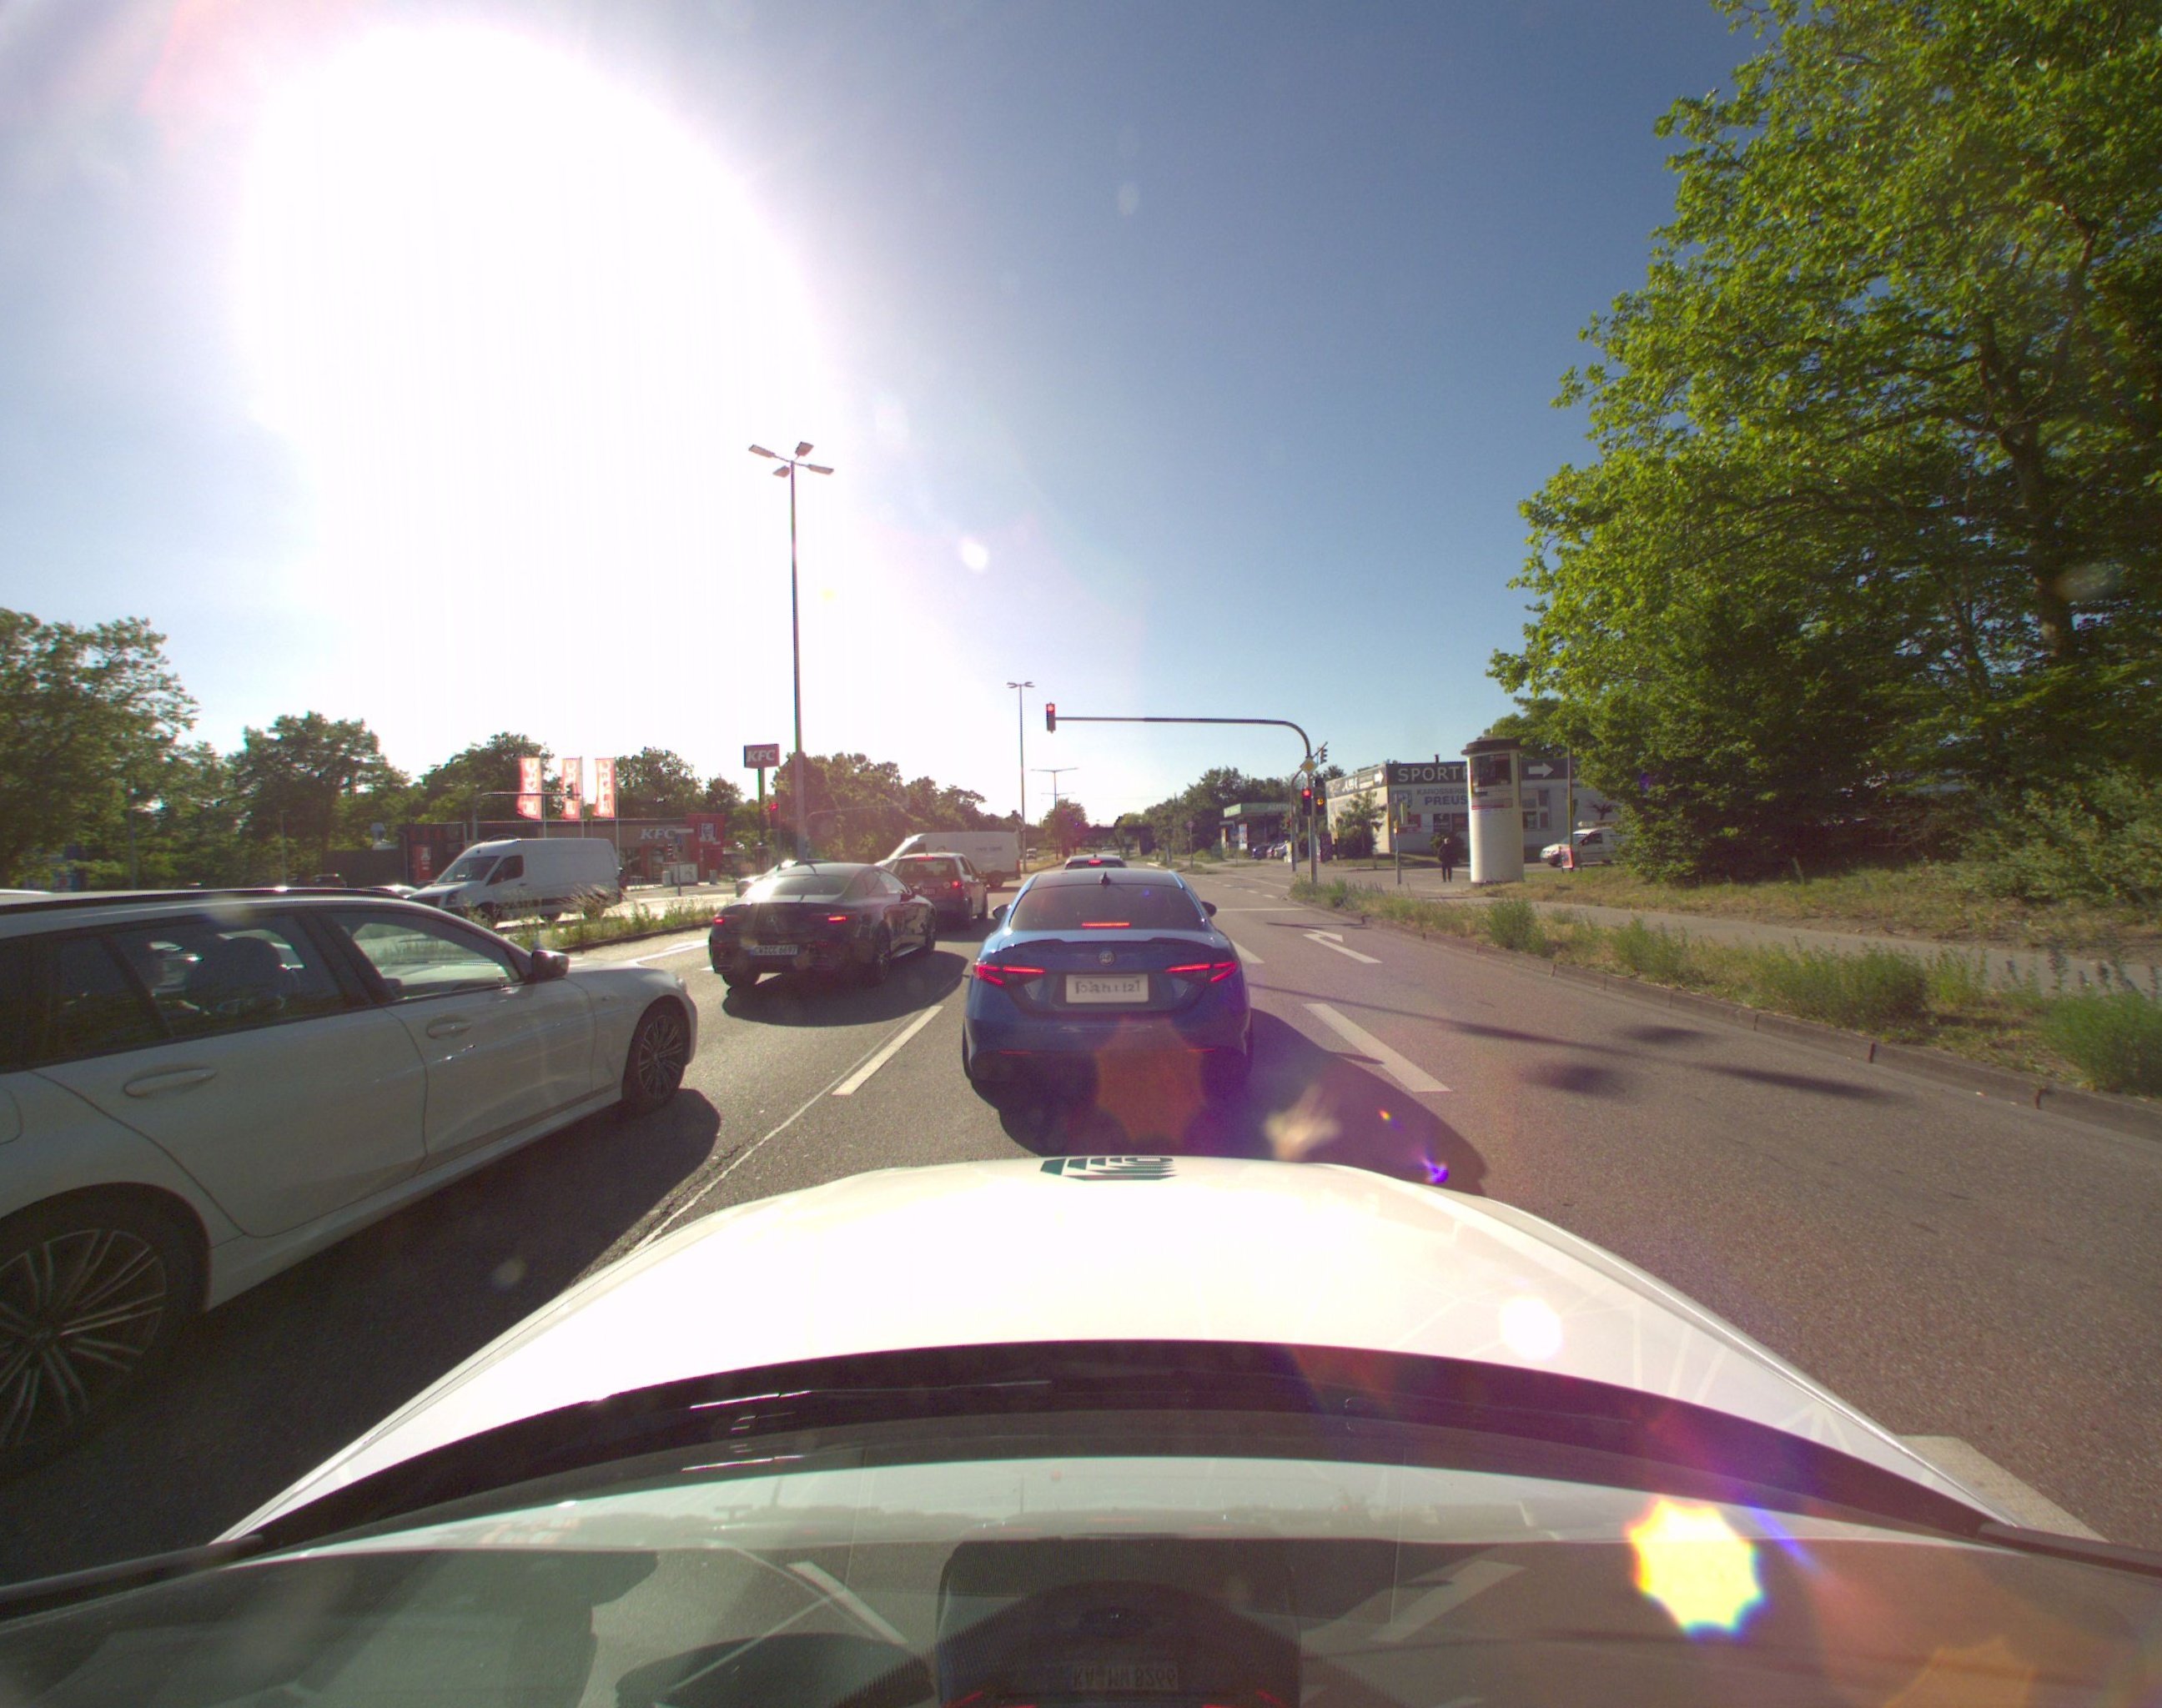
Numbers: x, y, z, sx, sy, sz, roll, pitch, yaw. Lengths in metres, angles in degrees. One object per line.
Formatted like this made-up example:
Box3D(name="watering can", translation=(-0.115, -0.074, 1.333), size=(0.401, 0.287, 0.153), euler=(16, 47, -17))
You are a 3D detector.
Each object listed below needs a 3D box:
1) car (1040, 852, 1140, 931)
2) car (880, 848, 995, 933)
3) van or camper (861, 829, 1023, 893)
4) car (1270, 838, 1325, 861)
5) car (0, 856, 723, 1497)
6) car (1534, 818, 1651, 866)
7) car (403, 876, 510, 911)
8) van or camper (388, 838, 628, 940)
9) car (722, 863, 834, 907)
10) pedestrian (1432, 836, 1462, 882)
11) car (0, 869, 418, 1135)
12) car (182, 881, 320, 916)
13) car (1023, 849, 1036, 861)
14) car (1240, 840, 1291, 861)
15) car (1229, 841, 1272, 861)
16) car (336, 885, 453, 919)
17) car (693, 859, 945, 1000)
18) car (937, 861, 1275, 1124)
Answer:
Box3D(name="car", translation=(0.230, 0.702, 17.209), size=(1.859, 1.450, 3.933), euler=(-1, 0, 2))
Box3D(name="car", translation=(-2.993, 0.699, 17.737), size=(1.642, 1.598, 3.933), euler=(-1, 0, 2))
Box3D(name="van or camper", translation=(-6.129, 0.257, 36.242), size=(6.767, 2.572, 2.166), euler=(-2, 0, -26))
Box3D(name="car", translation=(17.507, -0.356, 65.879), size=(3.993, 1.706, 1.687), euler=(-1, 0, -15))
Box3D(name="car", translation=(-3.431, 0.798, 3.373), size=(1.762, 1.509, 4.463), euler=(-1, 0, 2))
Box3D(name="car", translation=(24.678, -0.570, 39.404), size=(4.393, 2.145, 1.999), euler=(-1, 0, -2))
Box3D(name="car", translation=(-31.925, 1.986, 41.703), size=(4.025, 1.595, 1.824), euler=(-1, 0, -1))
Box3D(name="van or camper", translation=(-16.814, 0.913, 24.446), size=(1.979, 2.651, 5.980), euler=(-1, 0, 14))
Box3D(name="car", translation=(-12.942, 1.289, 35.125), size=(1.977, 1.653, 4.636), euler=(-1, 0, 18))
Box3D(name="pedestrian", translation=(14.207, 0.185, 31.649), size=(0.818, 1.721, 0.856), euler=(-2, 0, 9))
Box3D(name="car", translation=(-6.975, 0.883, 5.080), size=(1.849, 1.429, 4.408), euler=(-1, 0, 4))
Box3D(name="car", translation=(-39.251, 2.080, 38.589), size=(4.701, 1.429, 1.865), euler=(-1, 1, 2))
Box3D(name="car", translation=(-11.416, 0.222, 181.036), size=(2.423, 2.427, 5.831), euler=(-2, 0, 0))
Box3D(name="car", translation=(16.037, -0.287, 70.773), size=(3.997, 1.706, 1.685), euler=(-1, 0, -18))
Box3D(name="car", translation=(15.380, -0.250, 73.981), size=(3.489, 1.706, 1.687), euler=(-1, 0, -14))
Box3D(name="car", translation=(-32.129, 2.235, 38.181), size=(4.019, 1.429, 1.826), euler=(-1, 0, 3))
Box3D(name="car", translation=(-3.144, 0.813, 10.846), size=(1.762, 1.414, 4.463), euler=(-1, 0, 2))
Box3D(name="car", translation=(0.199, 0.788, 6.492), size=(1.859, 1.385, 3.933), euler=(-1, 0, 2))
